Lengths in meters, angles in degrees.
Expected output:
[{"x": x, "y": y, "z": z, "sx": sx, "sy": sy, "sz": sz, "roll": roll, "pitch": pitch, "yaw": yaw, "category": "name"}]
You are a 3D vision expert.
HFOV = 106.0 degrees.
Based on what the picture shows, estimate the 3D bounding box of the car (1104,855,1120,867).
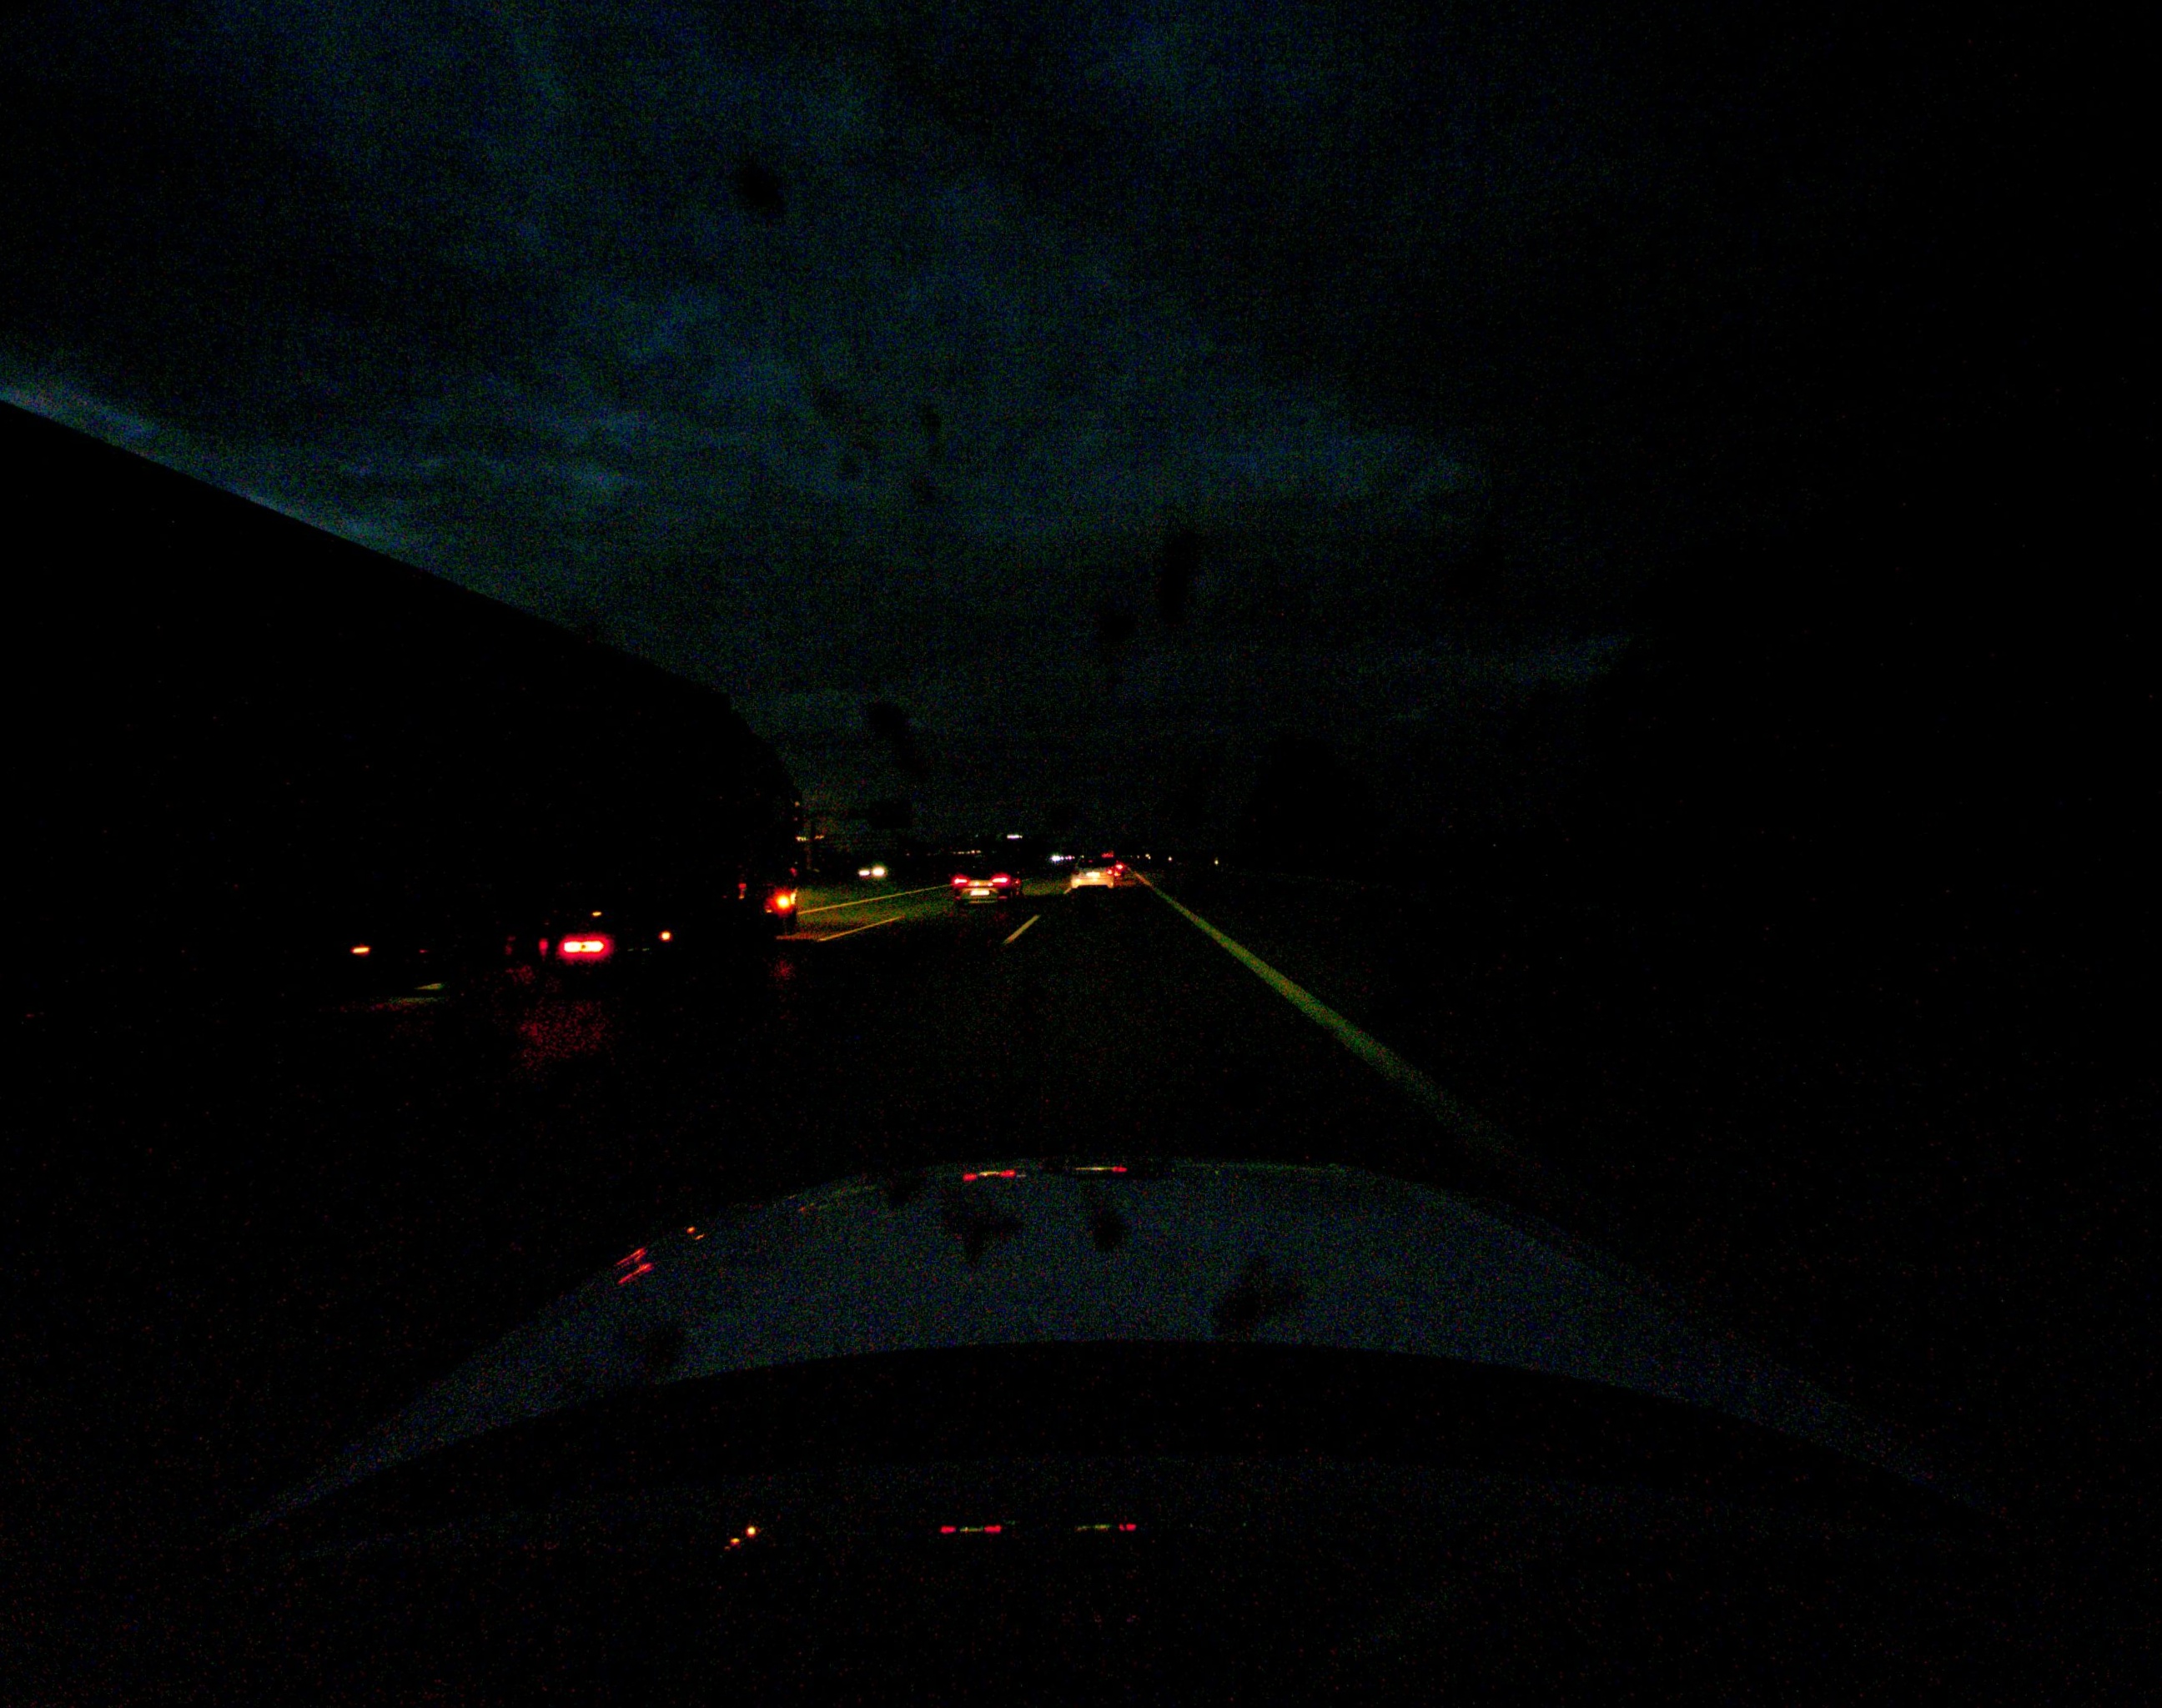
[{"x": 3.822, "y": 0.890, "z": 101.662, "sx": 1.873, "sy": 1.552, "sz": 4.001, "roll": 0, "pitch": -1, "yaw": 1, "category": "car"}]

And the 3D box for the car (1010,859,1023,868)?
[{"x": -11.115, "y": 1.625, "z": 139.994, "sx": 1.692, "sy": 1.617, "sz": 4.628, "roll": 0, "pitch": -1, "yaw": 2, "category": "car"}]

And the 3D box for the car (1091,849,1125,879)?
[{"x": 1.551, "y": 0.599, "z": 46.986, "sx": 1.873, "sy": 1.643, "sz": 4.001, "roll": 0, "pitch": -1, "yaw": 2, "category": "car"}]

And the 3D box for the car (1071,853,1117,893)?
[{"x": 0.592, "y": 0.772, "z": 33.439, "sx": 1.737, "sy": 1.525, "sz": 4.416, "roll": 0, "pitch": -1, "yaw": 2, "category": "car"}]

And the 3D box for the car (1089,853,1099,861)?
[{"x": 3.099, "y": 0.784, "z": 193.868, "sx": 2.191, "sy": 1.879, "sz": 4.001, "roll": 0, "pitch": -1, "yaw": 2, "category": "car"}]

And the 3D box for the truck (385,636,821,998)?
[{"x": -6.508, "y": -0.391, "z": 12.445, "sx": 2.766, "sy": 4.093, "sz": 6.107, "roll": -2, "pitch": -1, "yaw": 3, "category": "truck"}]

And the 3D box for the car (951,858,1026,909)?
[{"x": -2.838, "y": 0.876, "z": 25.952, "sx": 1.716, "sy": 1.471, "sz": 4.727, "roll": 0, "pitch": -1, "yaw": 2, "category": "car"}]

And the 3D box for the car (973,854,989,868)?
[{"x": -17.659, "y": 1.228, "z": 143.882, "sx": 1.986, "sy": 2.388, "sz": 5.838, "roll": 0, "pitch": -1, "yaw": 2, "category": "car"}]

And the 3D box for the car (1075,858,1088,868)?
[{"x": 0.114, "y": 1.427, "z": 125.590, "sx": 1.873, "sy": 1.552, "sz": 4.001, "roll": 0, "pitch": -1, "yaw": 1, "category": "car"}]

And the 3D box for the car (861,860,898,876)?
[{"x": -20.046, "y": 1.349, "z": 81.312, "sx": 1.986, "sy": 1.521, "sz": 5.838, "roll": 0, "pitch": -1, "yaw": 2, "category": "car"}]

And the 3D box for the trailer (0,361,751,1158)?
[{"x": -6.861, "y": -0.450, "z": 5.297, "sx": 2.782, "sy": 4.085, "sz": 14.535, "roll": -2, "pitch": -1, "yaw": 3, "category": "trailer"}]
